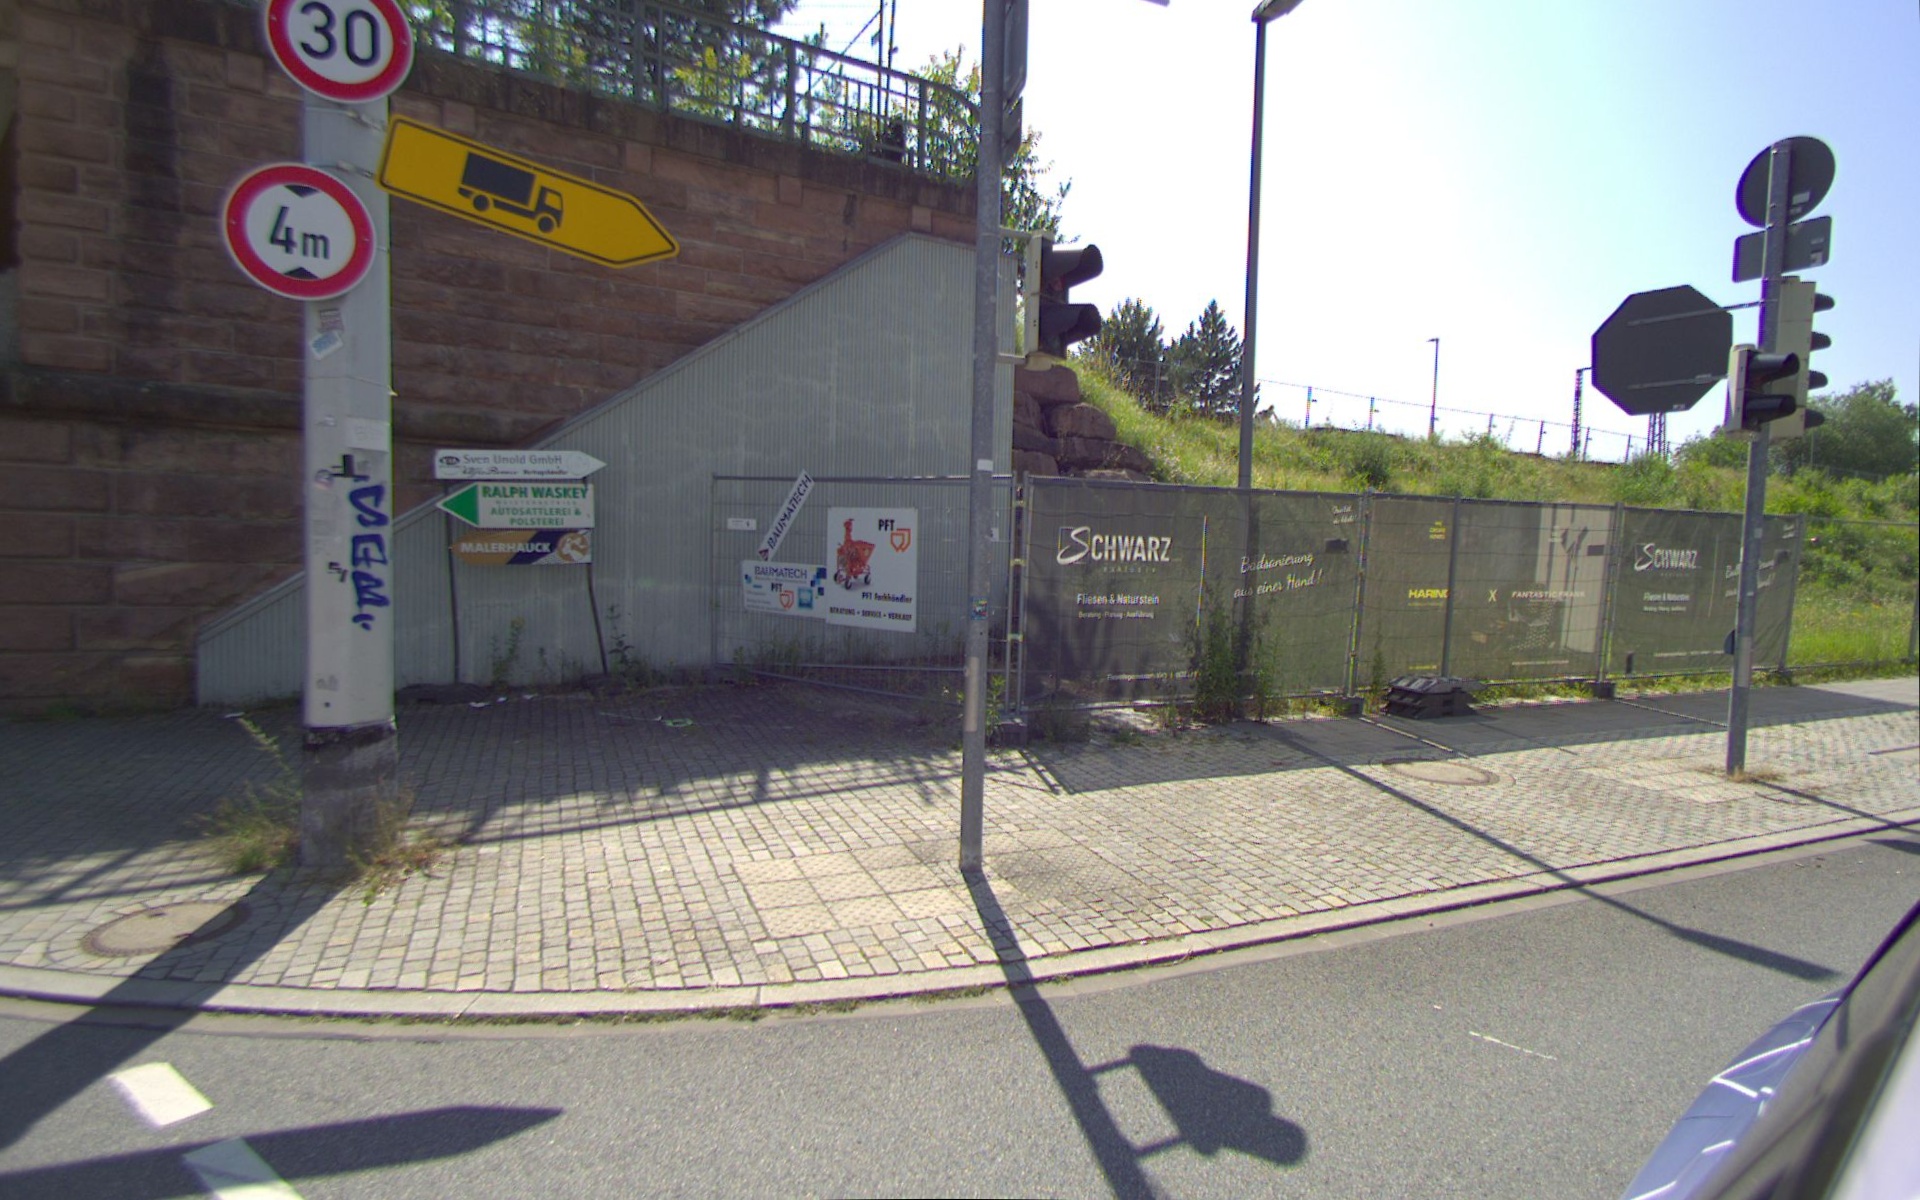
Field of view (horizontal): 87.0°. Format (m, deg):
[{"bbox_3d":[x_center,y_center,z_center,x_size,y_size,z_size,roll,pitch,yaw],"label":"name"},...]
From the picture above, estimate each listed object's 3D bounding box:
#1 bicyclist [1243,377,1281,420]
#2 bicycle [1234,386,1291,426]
[{"bbox_3d":[11.533,-7.688,38.682,1.042,1.405,0.953,-1,2,-33],"label":"bicyclist"},{"bbox_3d":[11.567,-7.396,38.718,2.132,1.228,0.938,-1,2,-33],"label":"bicycle"}]
